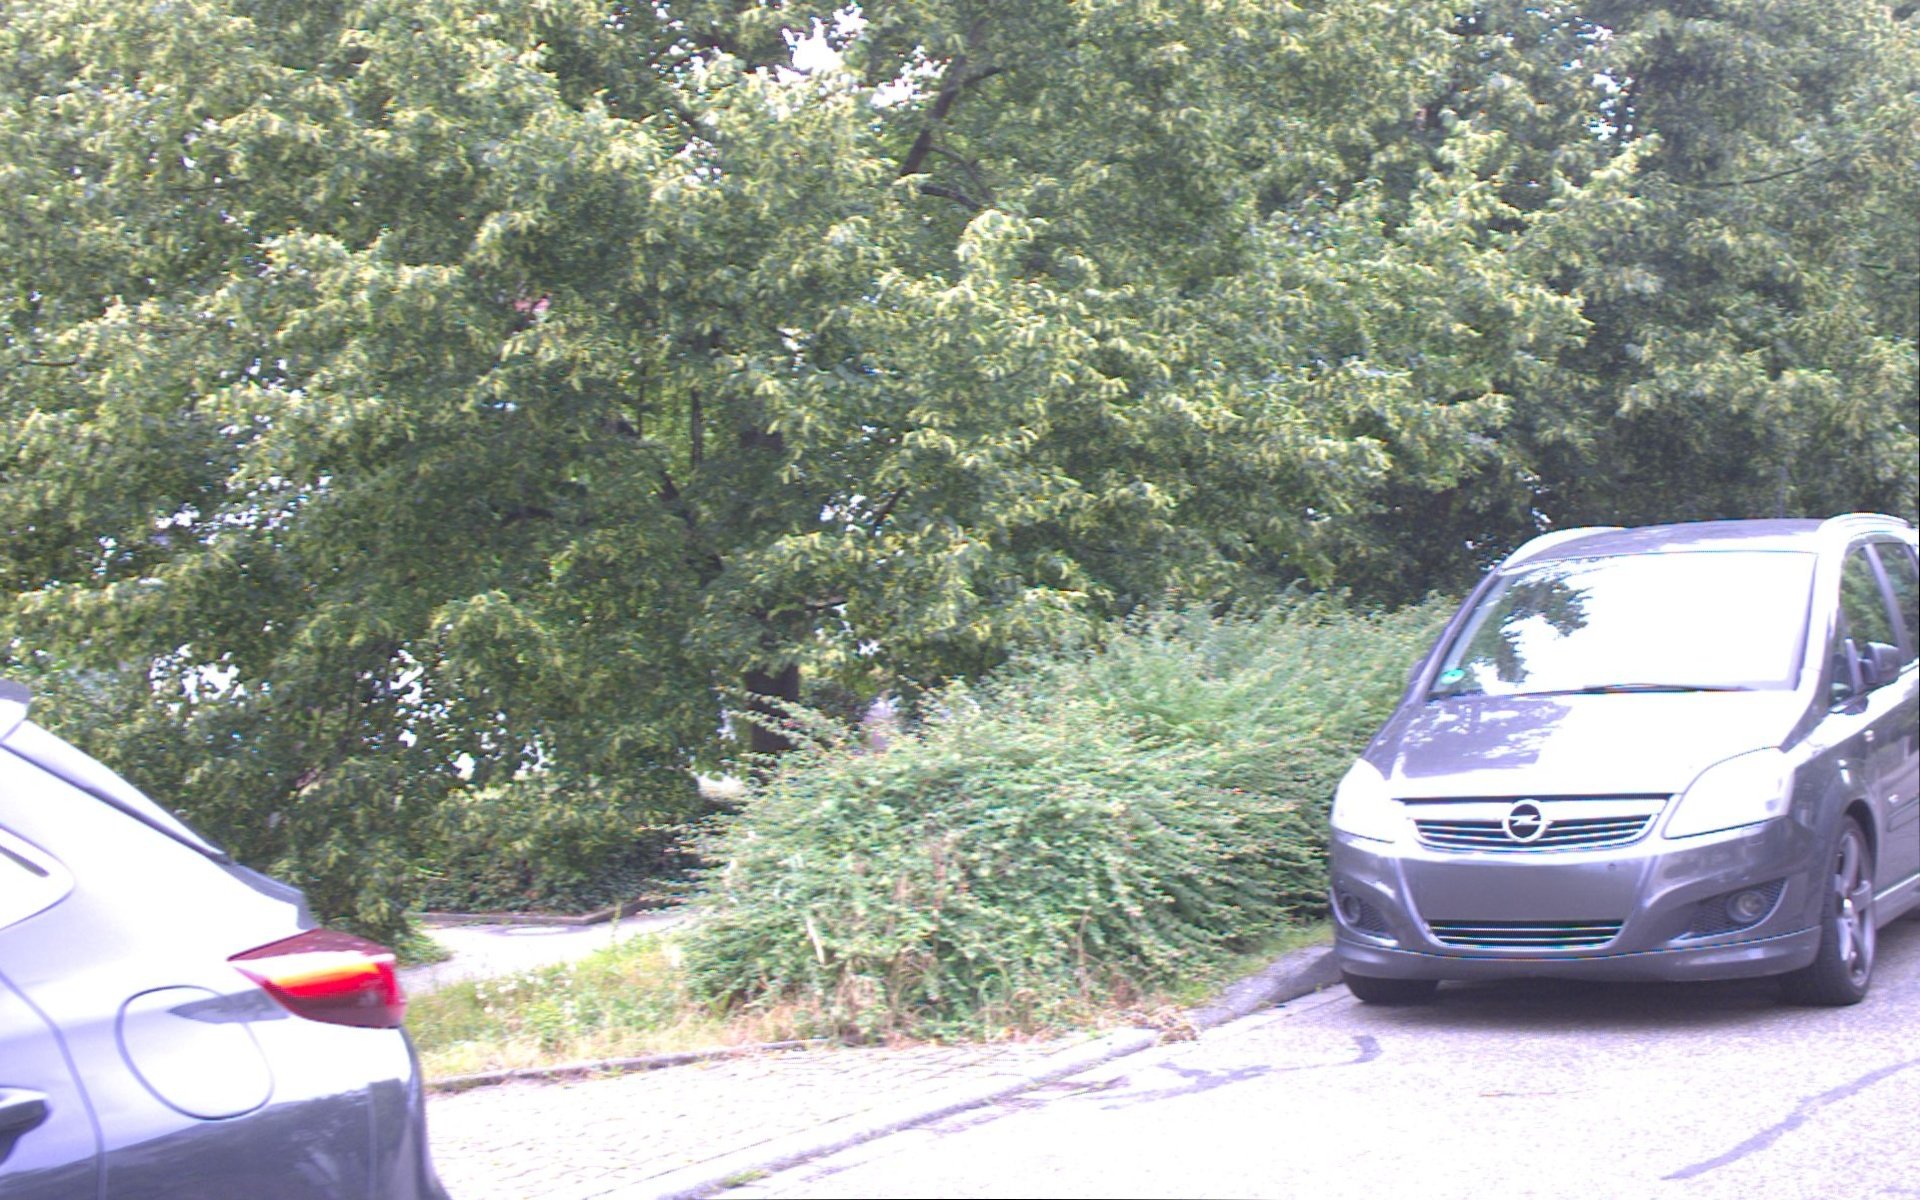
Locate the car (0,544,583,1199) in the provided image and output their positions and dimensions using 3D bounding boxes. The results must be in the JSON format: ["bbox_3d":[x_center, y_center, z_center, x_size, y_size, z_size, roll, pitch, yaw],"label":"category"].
[{"bbox_3d":[-2.242,0.772,2.843,1.744,1.526,4.189,-2,0,29],"label":"car"}]

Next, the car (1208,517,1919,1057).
[{"bbox_3d":[2.636,0.539,12.555,1.760,1.588,4.546,-3,0,27],"label":"car"}]

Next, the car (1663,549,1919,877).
[{"bbox_3d":[5.133,0.467,17.444,1.760,1.473,4.299,-3,0,30],"label":"car"}]
